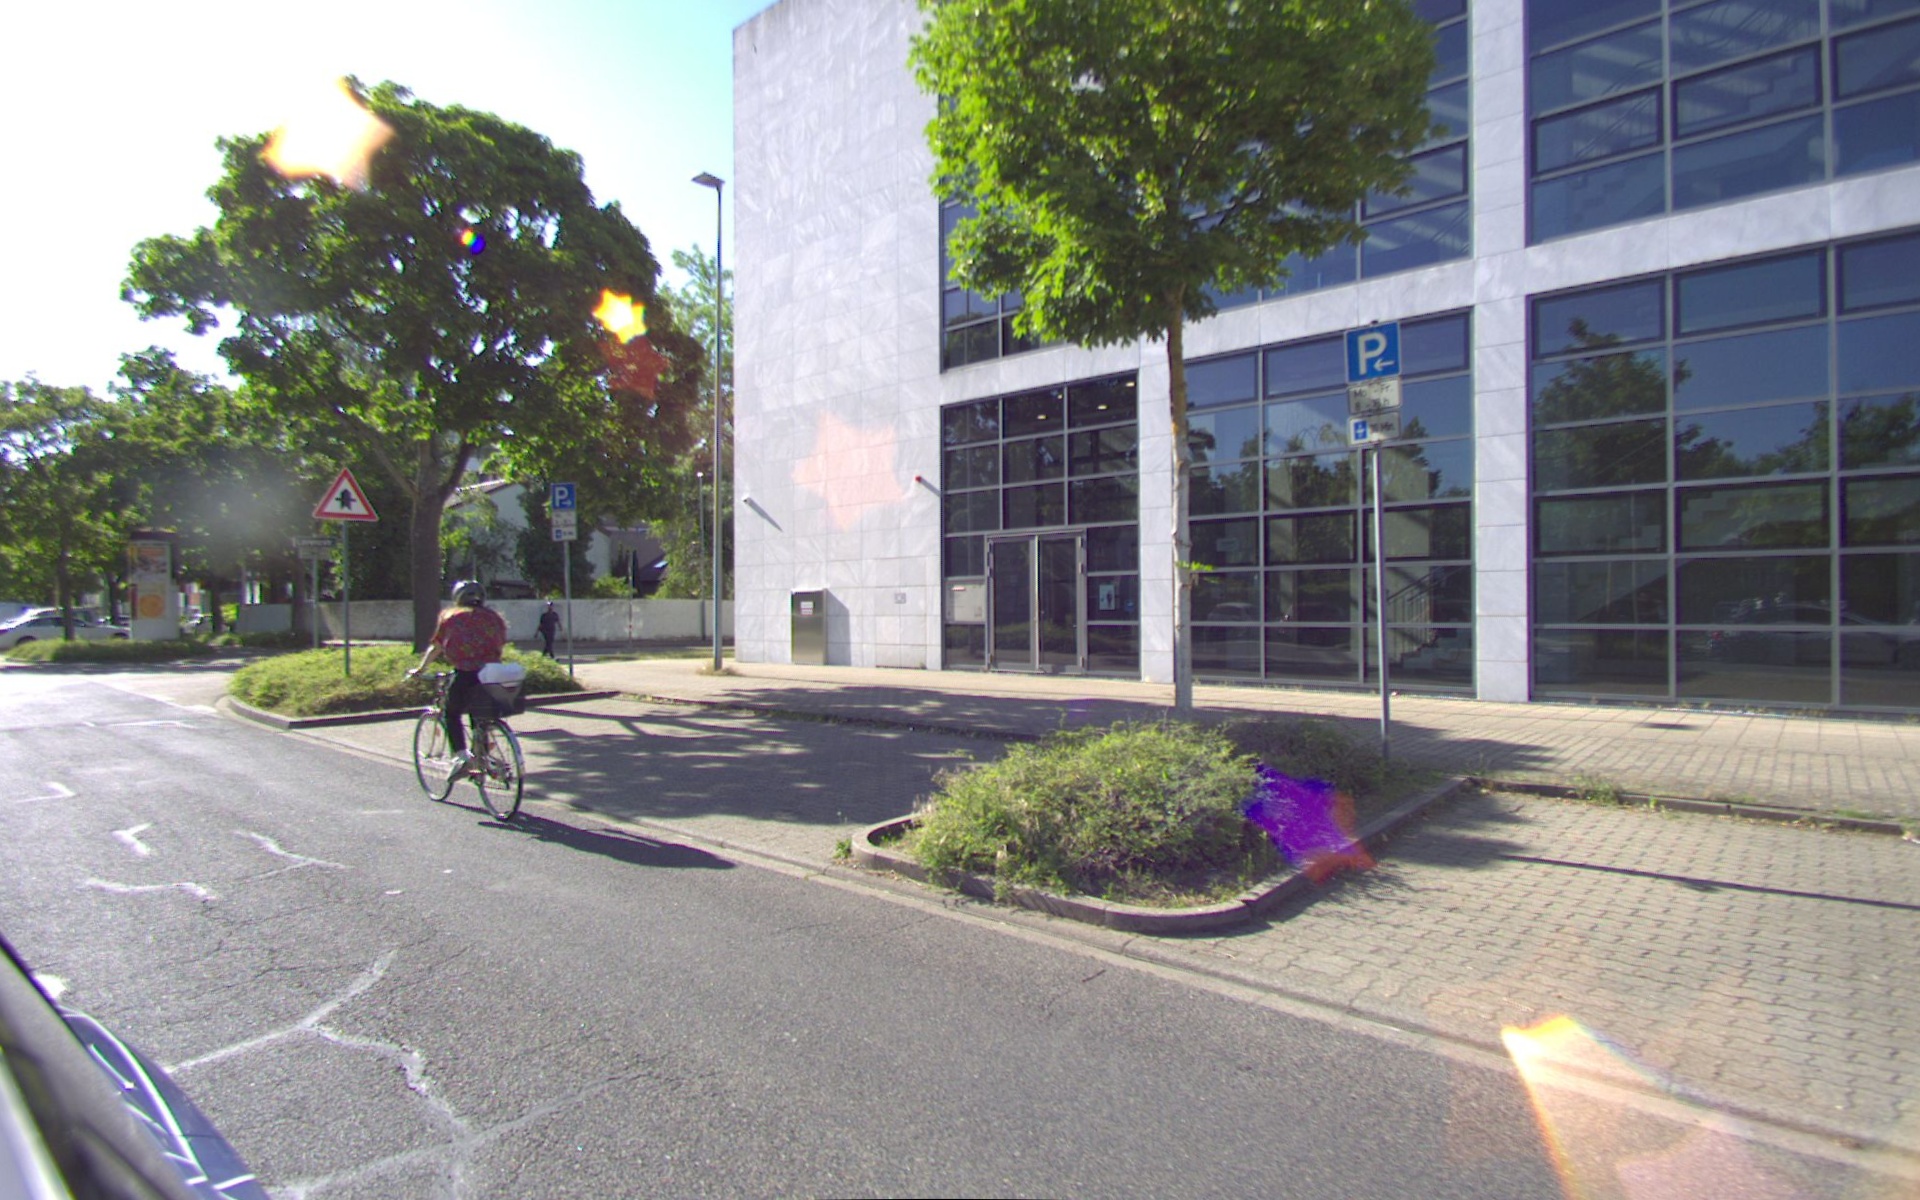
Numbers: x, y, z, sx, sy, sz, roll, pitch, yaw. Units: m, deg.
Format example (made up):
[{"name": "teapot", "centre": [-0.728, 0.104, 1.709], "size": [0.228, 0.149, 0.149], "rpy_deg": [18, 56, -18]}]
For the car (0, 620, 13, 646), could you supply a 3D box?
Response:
[{"name": "car", "centre": [-69.068, 2.336, 70.342], "size": [1.999, 1.844, 4.504], "rpy_deg": [-2, -2, 40]}]

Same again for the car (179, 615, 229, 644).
[{"name": "car", "centre": [-44.959, 1.728, 60.182], "size": [1.808, 1.626, 4.147], "rpy_deg": [2, -2, -44]}]

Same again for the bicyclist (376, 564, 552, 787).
[{"name": "bicyclist", "centre": [-3.547, 0.502, 7.216], "size": [1.132, 1.442, 0.749], "rpy_deg": [-1, -2, 43]}]

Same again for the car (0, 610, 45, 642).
[{"name": "car", "centre": [-56.527, 1.526, 58.981], "size": [1.999, 1.844, 4.504], "rpy_deg": [-2, -2, 40]}]

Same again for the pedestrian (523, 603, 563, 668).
[{"name": "pedestrian", "centre": [-11.173, 0.943, 27.127], "size": [0.824, 1.697, 0.809], "rpy_deg": [1, -2, -36]}]

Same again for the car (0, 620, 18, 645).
[{"name": "car", "centre": [-64.196, 2.158, 65.553], "size": [1.999, 1.612, 4.504], "rpy_deg": [-2, -2, 40]}]

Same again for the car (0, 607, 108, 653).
[{"name": "car", "centre": [-41.498, 1.337, 45.538], "size": [1.999, 2.006, 4.574], "rpy_deg": [-2, -2, 40]}]

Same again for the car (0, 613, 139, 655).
[{"name": "car", "centre": [-35.853, 1.336, 40.357], "size": [1.829, 1.416, 4.623], "rpy_deg": [-1, 1, 42]}]

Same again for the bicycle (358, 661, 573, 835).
[{"name": "bicycle", "centre": [-3.568, 0.980, 7.228], "size": [1.872, 1.010, 0.749], "rpy_deg": [-1, -2, 43]}]

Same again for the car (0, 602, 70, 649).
[{"name": "car", "centre": [-49.553, 1.353, 52.331], "size": [1.999, 2.396, 5.066], "rpy_deg": [-2, -2, 40]}]
